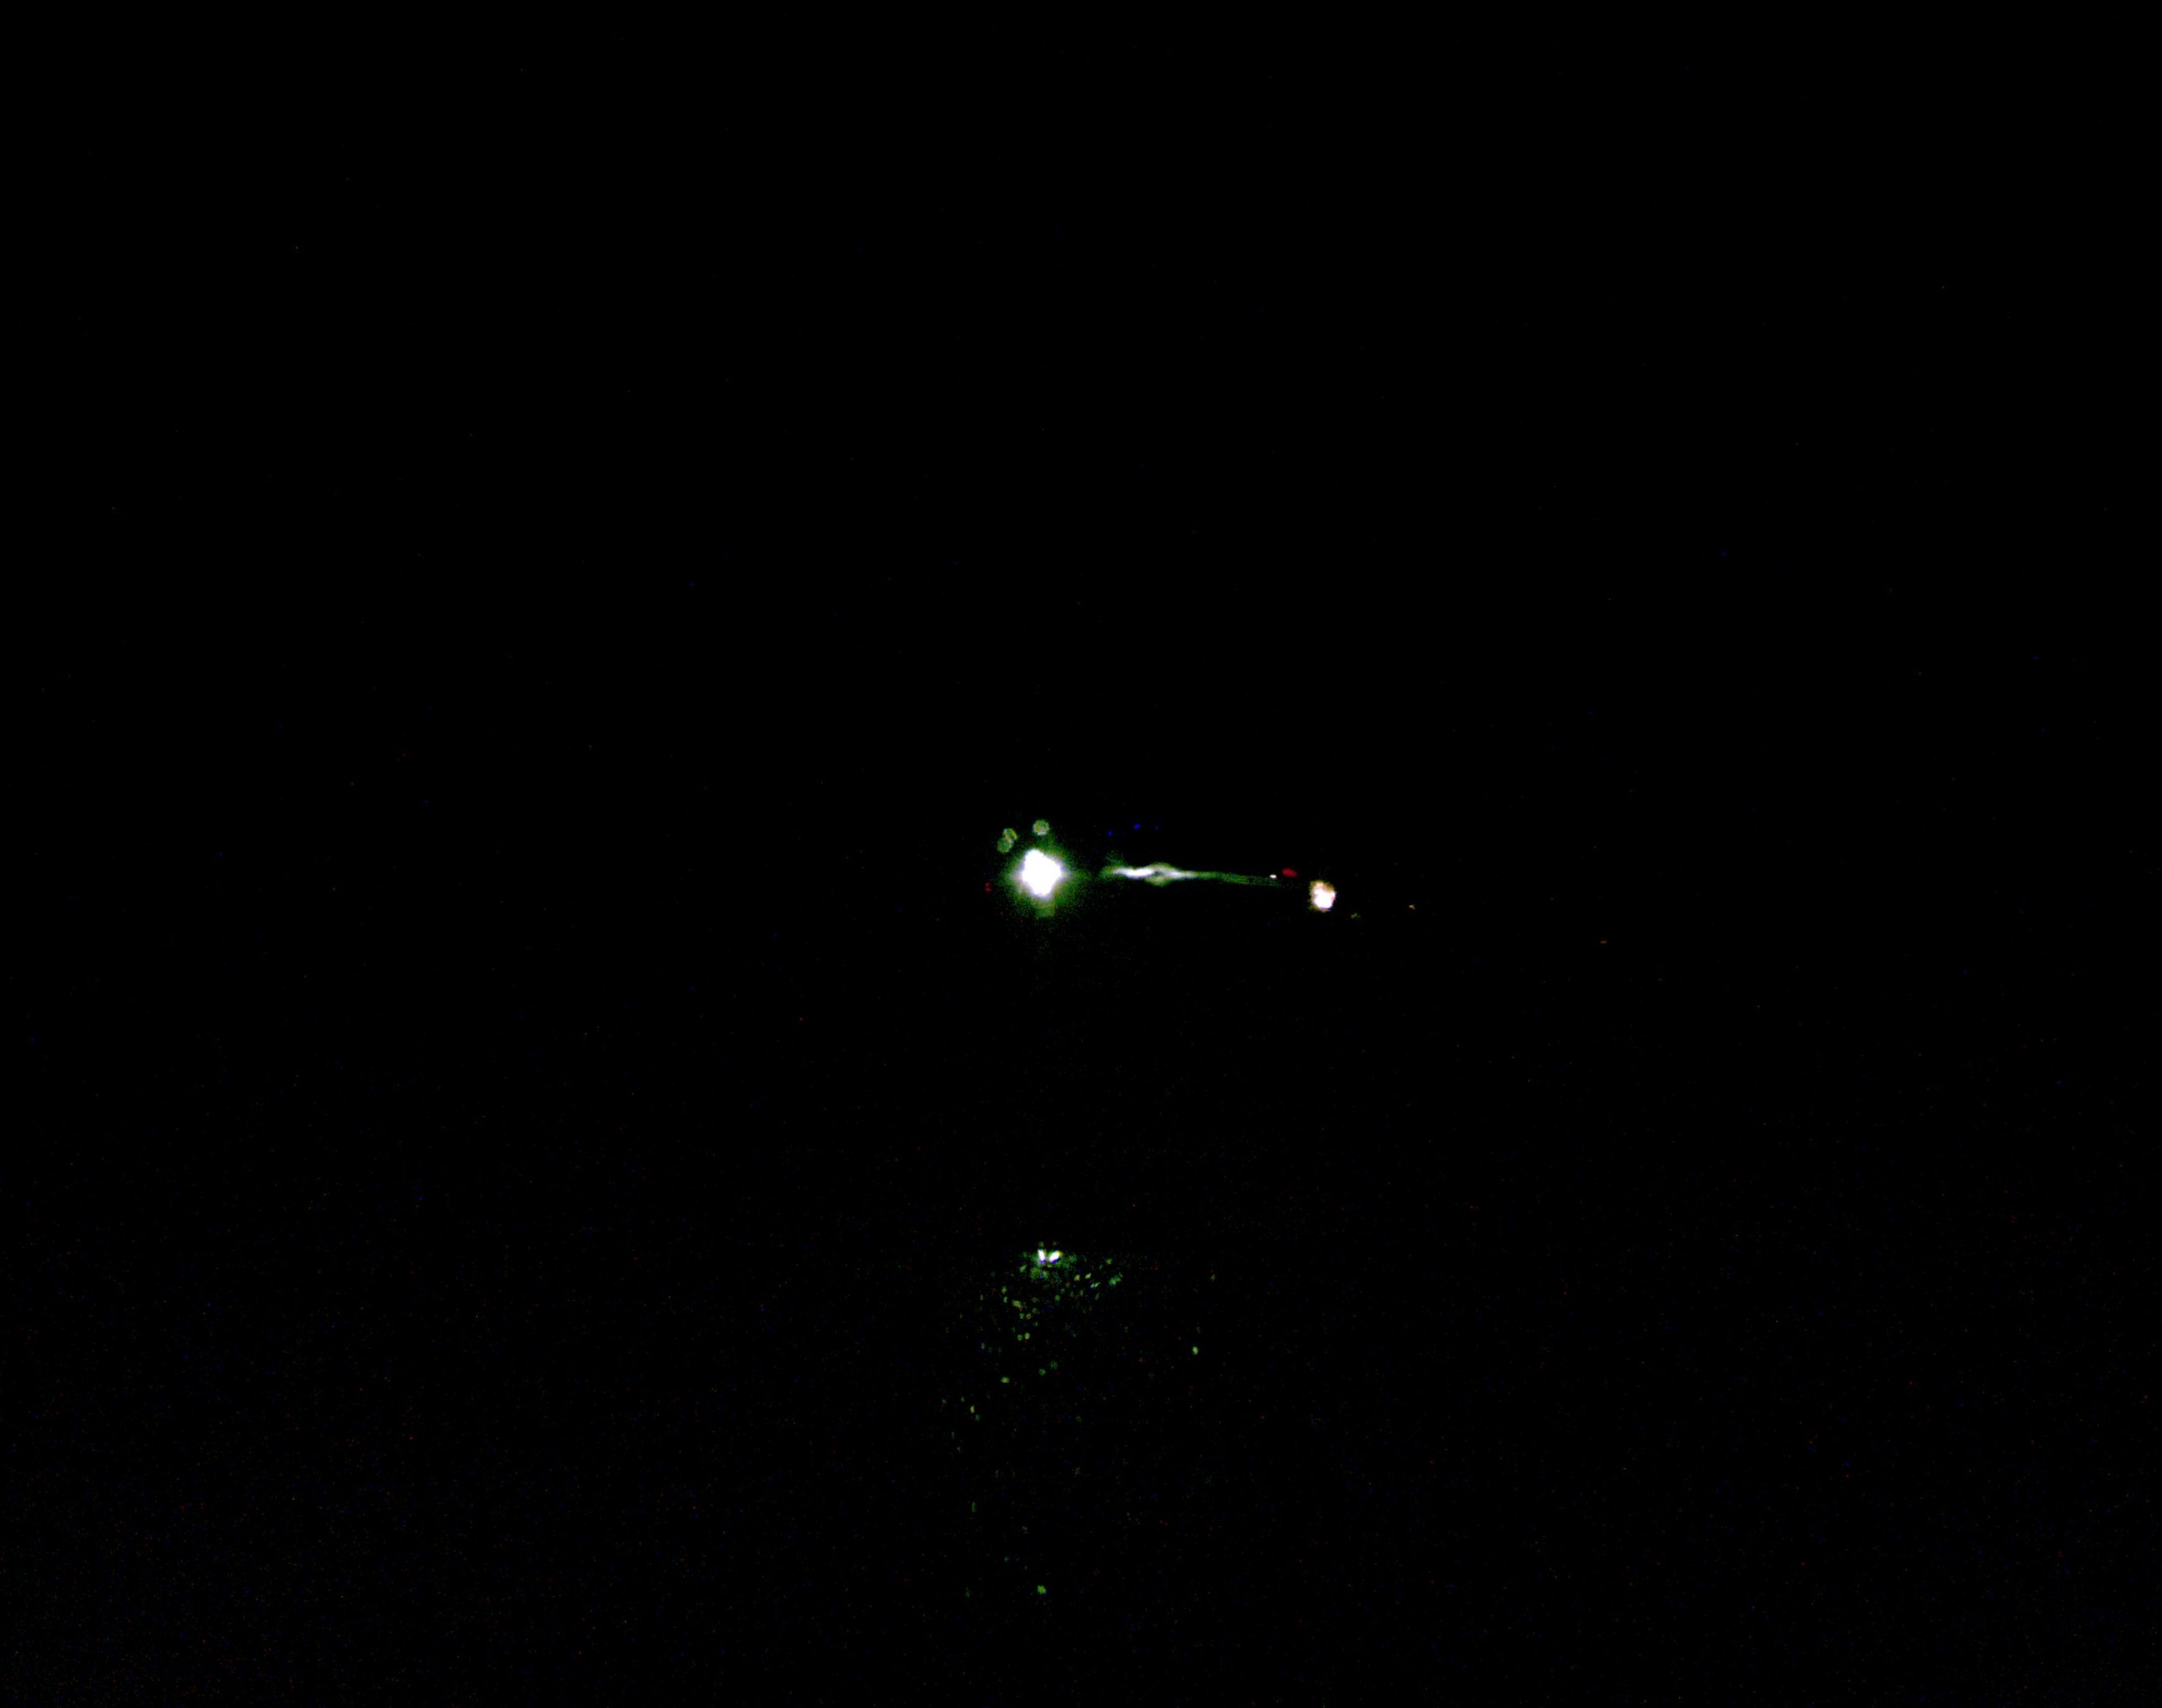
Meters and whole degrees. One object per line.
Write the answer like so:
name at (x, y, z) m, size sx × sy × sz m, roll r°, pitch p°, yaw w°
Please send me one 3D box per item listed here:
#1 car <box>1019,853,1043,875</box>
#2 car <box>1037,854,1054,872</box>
car at (-4.777, 0.942, 73.534) m, size 2.203 × 2.001 × 4.206 m, roll -2°, pitch -1°, yaw -3°
car at (-4.440, 1.071, 94.483) m, size 1.999 × 2.002 × 3.997 m, roll -2°, pitch 2°, yaw -4°
